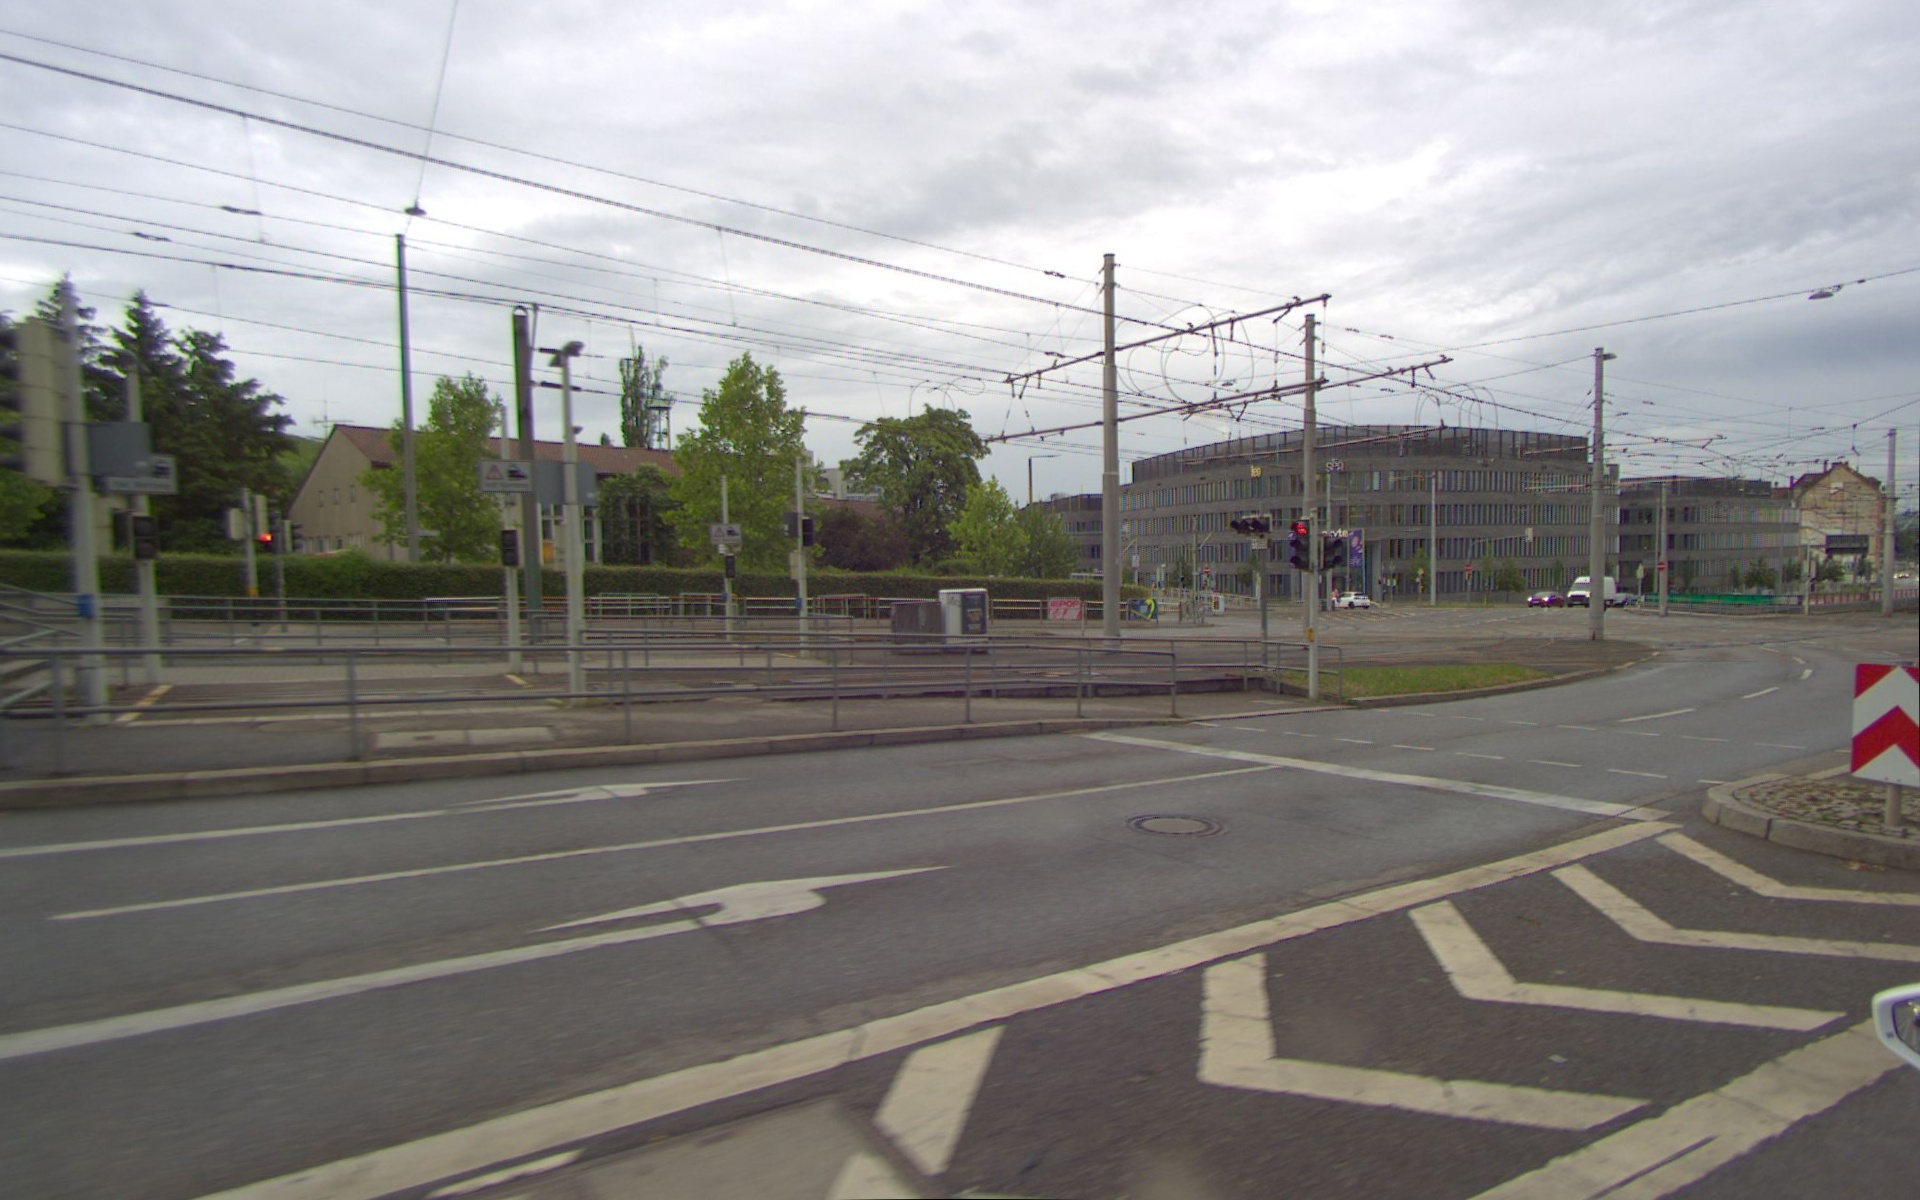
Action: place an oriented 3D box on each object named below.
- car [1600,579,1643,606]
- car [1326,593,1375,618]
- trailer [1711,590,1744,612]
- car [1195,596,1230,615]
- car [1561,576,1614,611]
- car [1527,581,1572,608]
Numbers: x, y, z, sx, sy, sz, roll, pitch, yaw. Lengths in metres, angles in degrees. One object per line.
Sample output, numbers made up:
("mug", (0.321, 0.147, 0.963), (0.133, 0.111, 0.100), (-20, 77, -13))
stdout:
("car", (59.619, -0.642, 90.504), (4.211, 2.181, 1.978), (4, -2, -38))
("car", (33.741, 0.429, 86.931), (1.966, 2.040, 3.989), (3, 0, -14))
("trailer", (81.280, 0.088, 106.378), (4.239, 2.101, 1.810), (3, 0, -39))
("car", (26.868, 0.583, 107.105), (1.966, 1.840, 3.989), (3, 0, -14))
("car", (52.279, -0.517, 83.674), (5.666, 2.869, 1.978), (0, 0, -38))
("car", (50.498, -0.455, 86.044), (4.210, 2.181, 1.978), (1, 0, -38))
